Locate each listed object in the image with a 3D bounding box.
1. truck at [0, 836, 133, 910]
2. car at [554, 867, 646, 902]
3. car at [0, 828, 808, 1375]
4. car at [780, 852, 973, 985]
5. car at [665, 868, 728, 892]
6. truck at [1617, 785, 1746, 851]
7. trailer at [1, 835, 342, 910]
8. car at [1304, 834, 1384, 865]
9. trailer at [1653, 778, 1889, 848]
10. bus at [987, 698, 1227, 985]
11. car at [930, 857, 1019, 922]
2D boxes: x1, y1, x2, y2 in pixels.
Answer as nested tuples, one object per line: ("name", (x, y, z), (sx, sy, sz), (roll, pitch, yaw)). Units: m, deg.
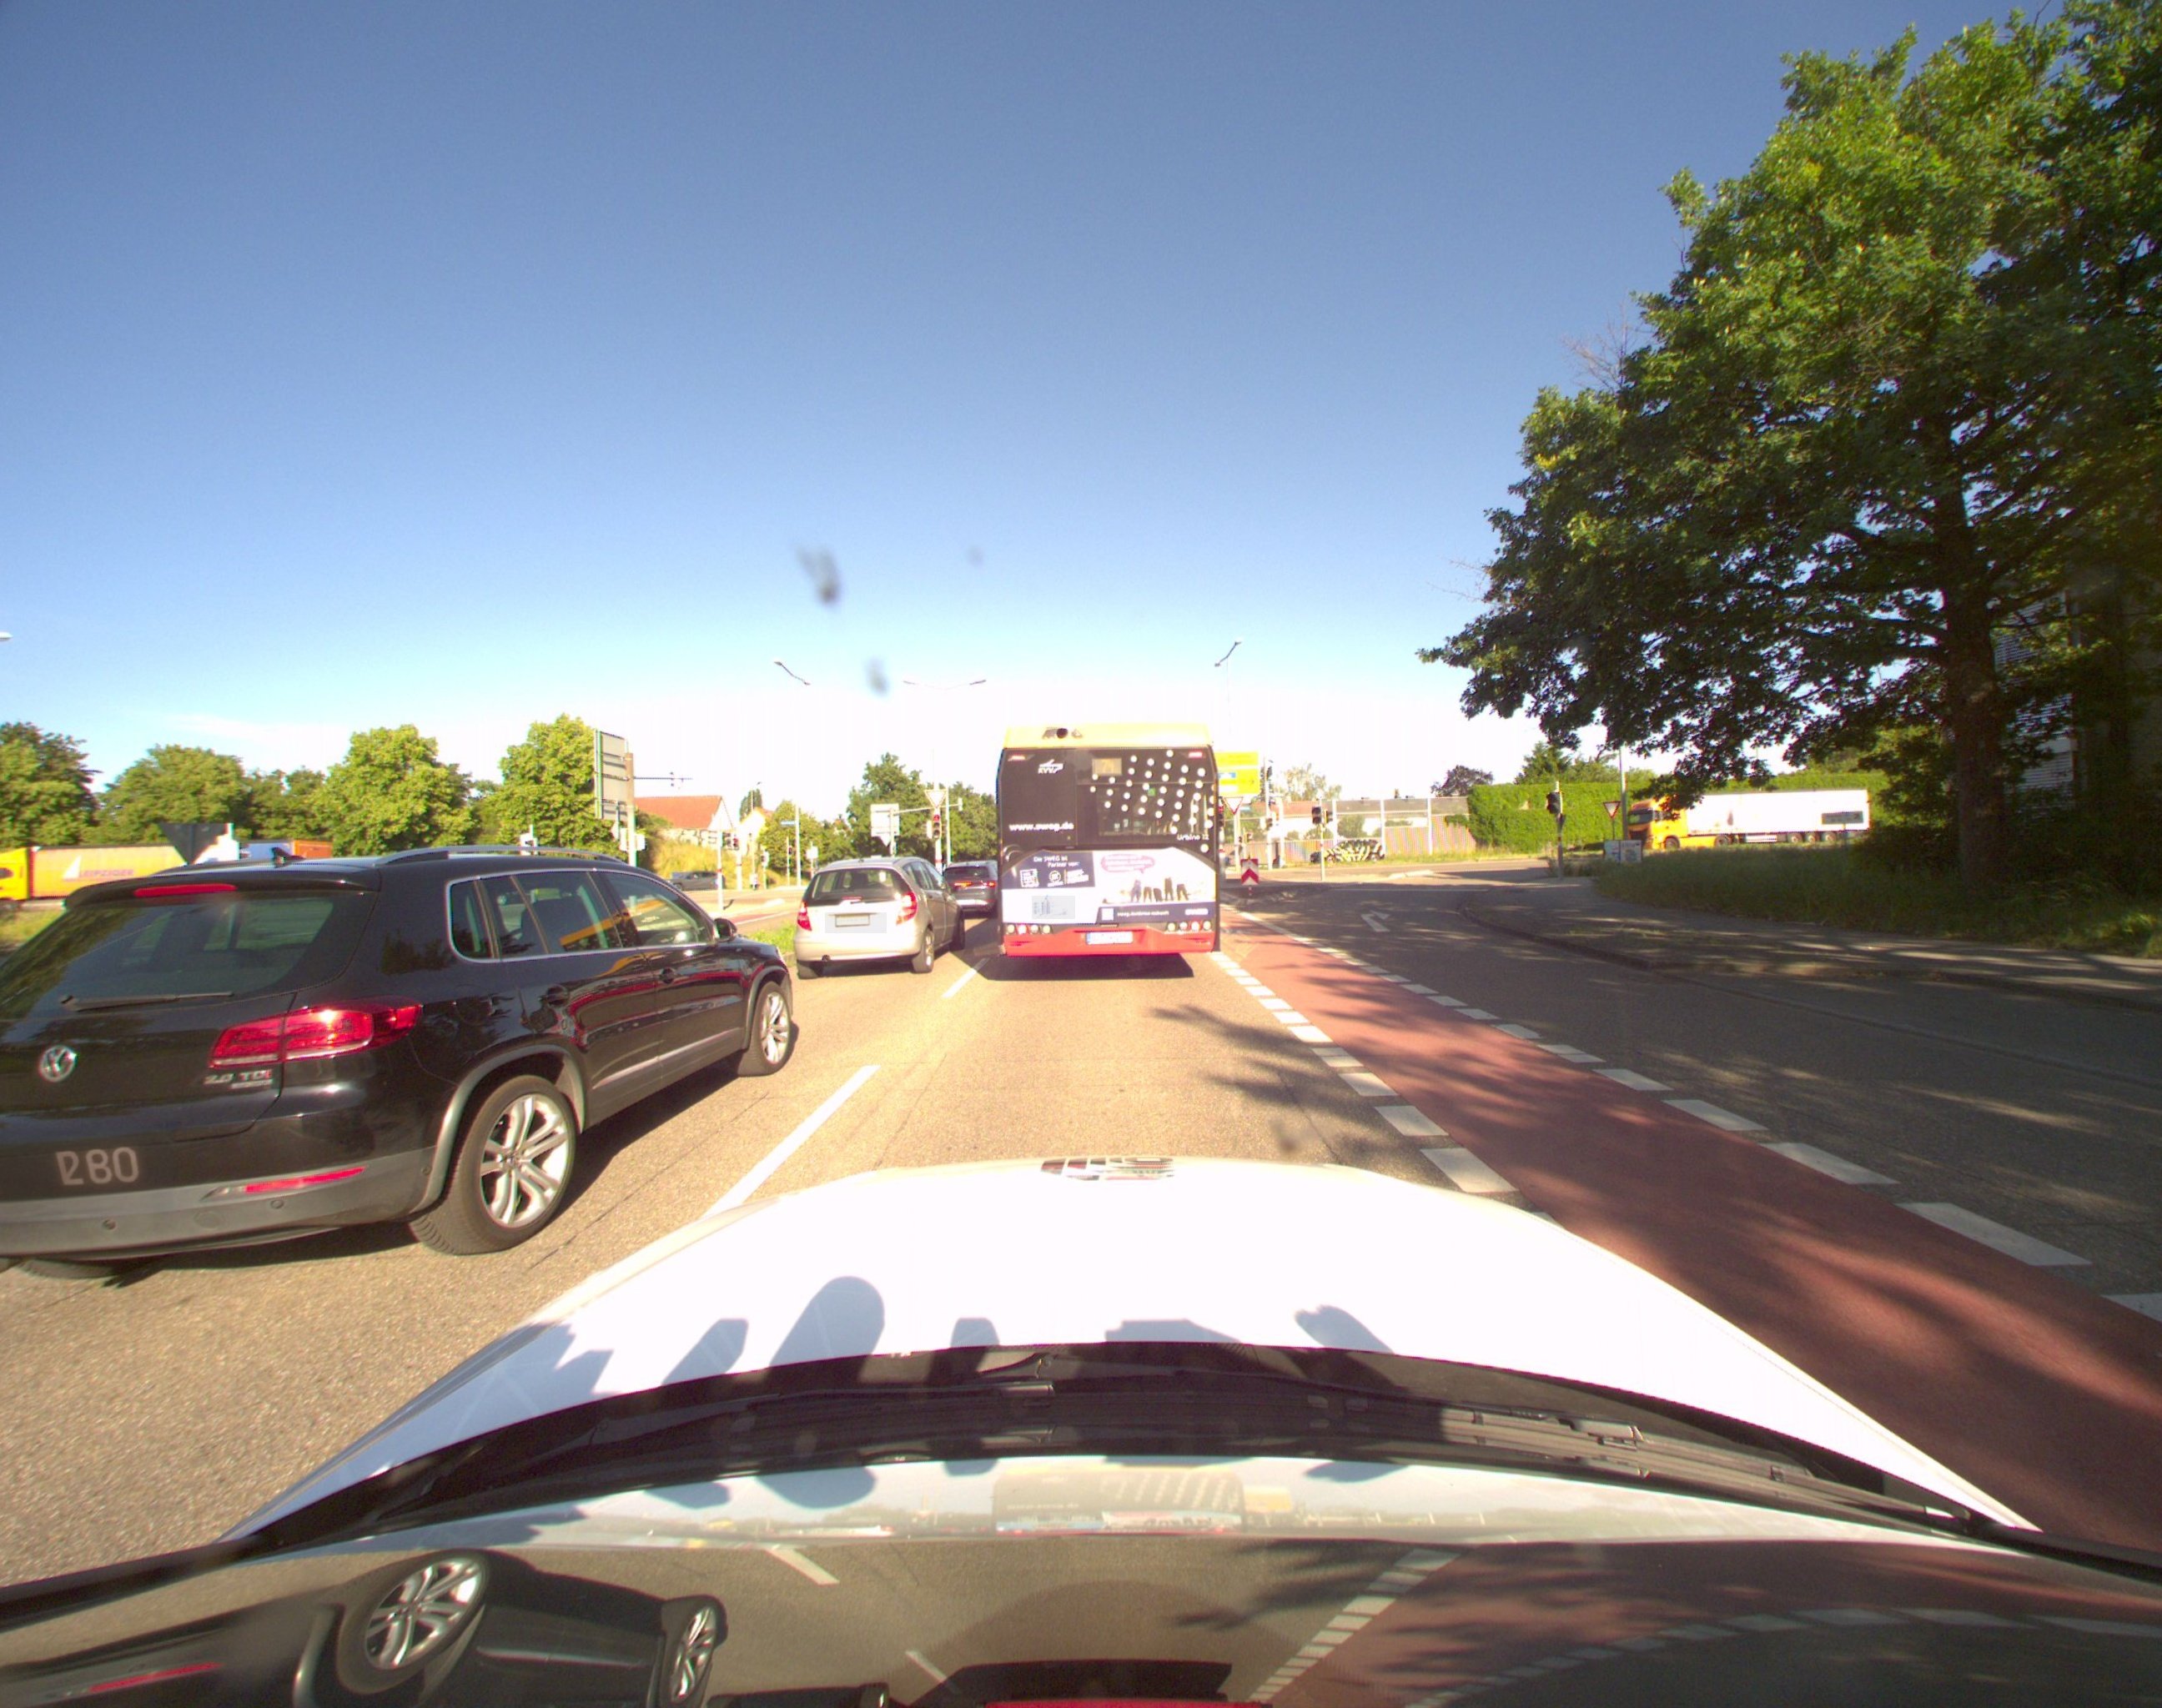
("truck", (-61.254, 1.104, 48.049), (6.210, 4.197, 3.435), (0, -1, -5))
("car", (-24.567, 1.533, 41.682), (3.577, 1.560, 1.747), (-2, 0, -5))
("car", (-3.171, 0.798, 4.560), (1.766, 1.653, 4.001), (-3, 0, 1))
("car", (-2.874, 0.824, 12.387), (1.755, 1.589, 4.001), (-3, 0, 1))
("car", (-26.393, 1.776, 55.968), (1.556, 1.459, 3.618), (-3, -1, 40))
("truck", (42.100, -2.446, 57.255), (6.465, 4.012, 3.435), (-4, 0, -5))
("trailer", (-53.911, 1.060, 48.717), (15.285, 4.185, 3.435), (0, -1, -5))
("car", (15.393, -0.263, 47.718), (4.058, 1.526, 1.766), (-3, 0, -3))
("trailer", (48.862, -2.862, 57.873), (14.633, 4.012, 3.434), (-3, 0, -5))
("bus", (0.524, -0.165, 15.024), (2.632, 3.167, 11.867), (-1, 0, 2))
("car", (-2.687, 0.856, 21.321), (1.686, 1.458, 3.751), (-3, 0, 1))
